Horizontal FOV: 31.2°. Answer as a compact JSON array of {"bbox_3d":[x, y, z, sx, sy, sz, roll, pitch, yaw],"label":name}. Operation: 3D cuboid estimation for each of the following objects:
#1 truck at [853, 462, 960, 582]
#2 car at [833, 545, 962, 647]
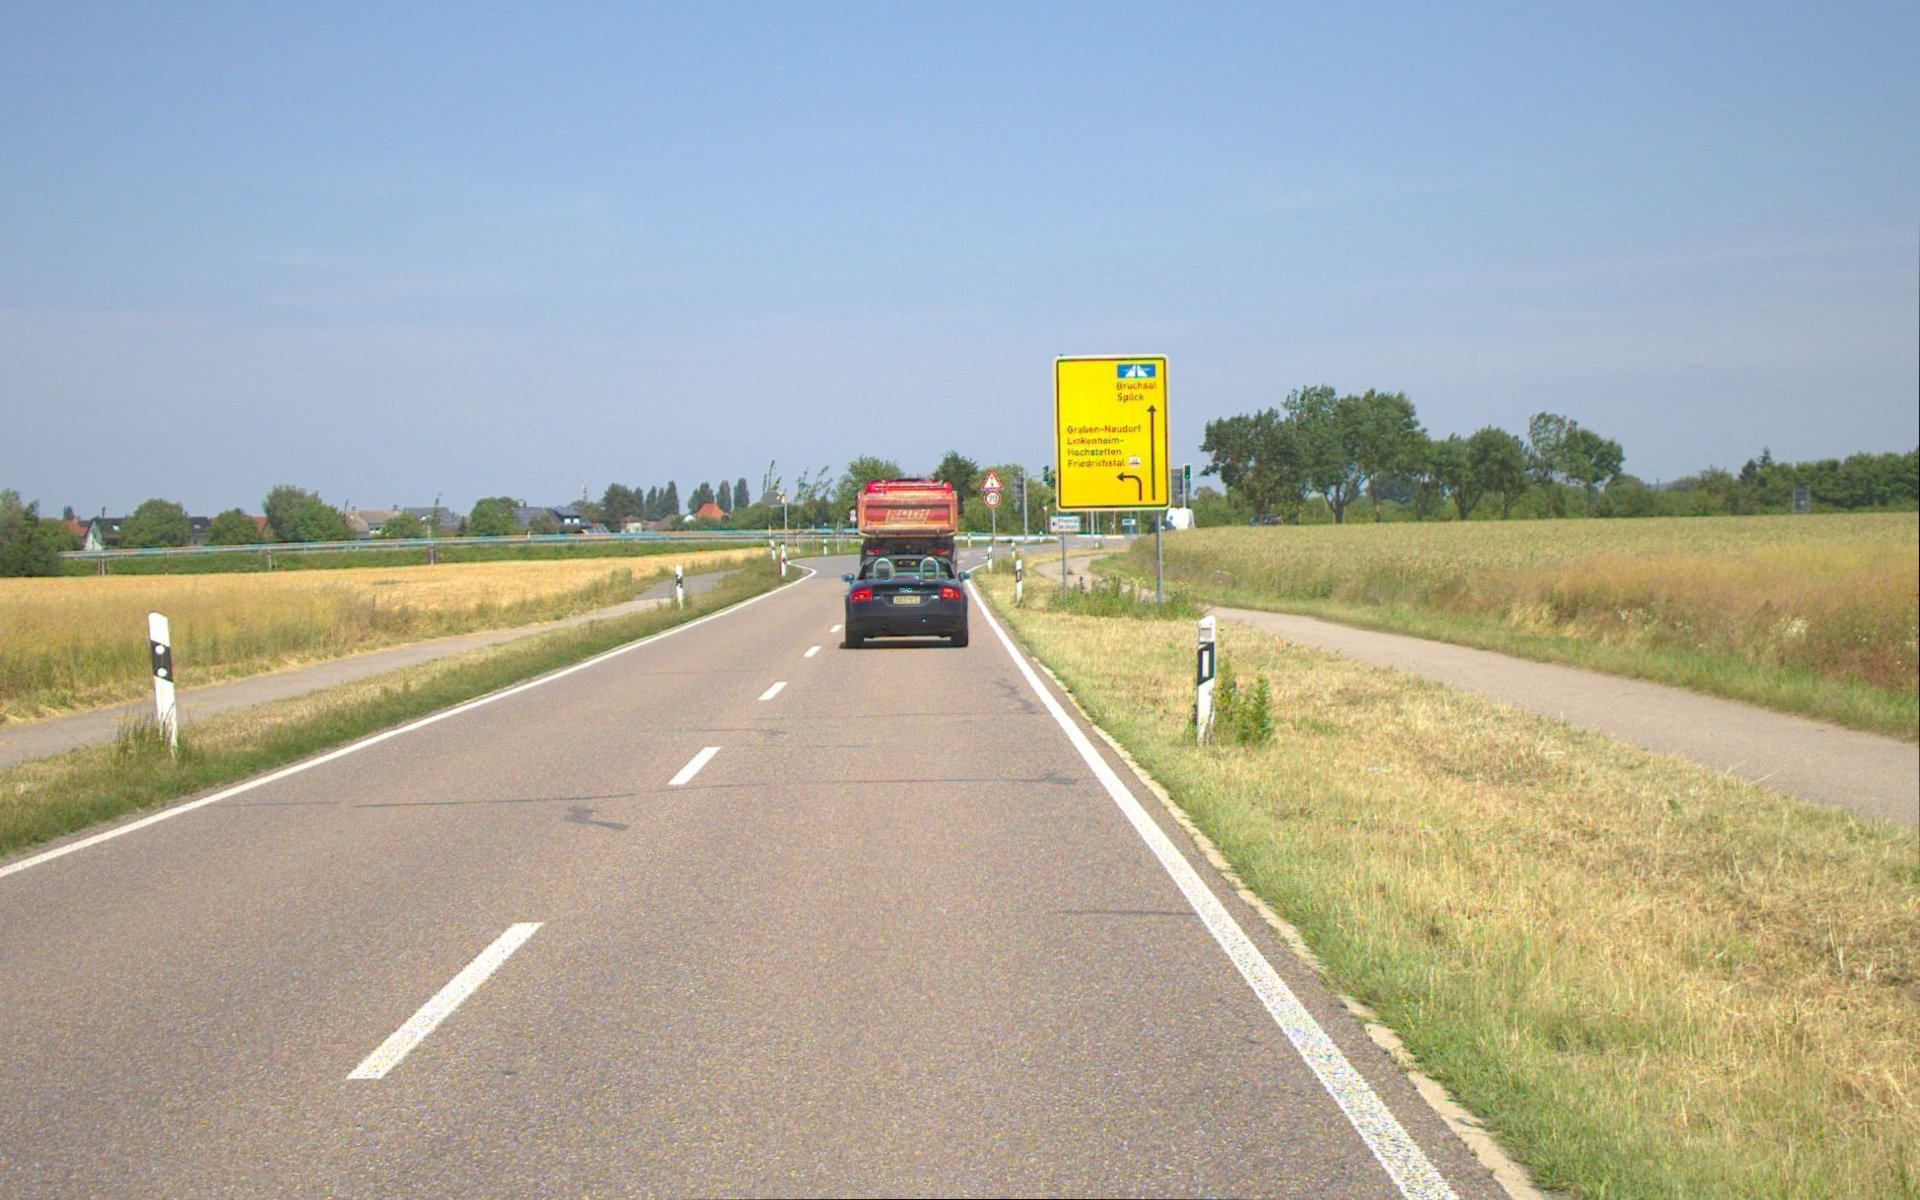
[{"bbox_3d":[-1.402,-2.014,91.421,2.714,3.042,8.165,0,1,-1],"label":"truck"},{"bbox_3d":[-0.876,-0.075,49.245,1.747,1.371,3.679,1,1,0],"label":"car"}]
